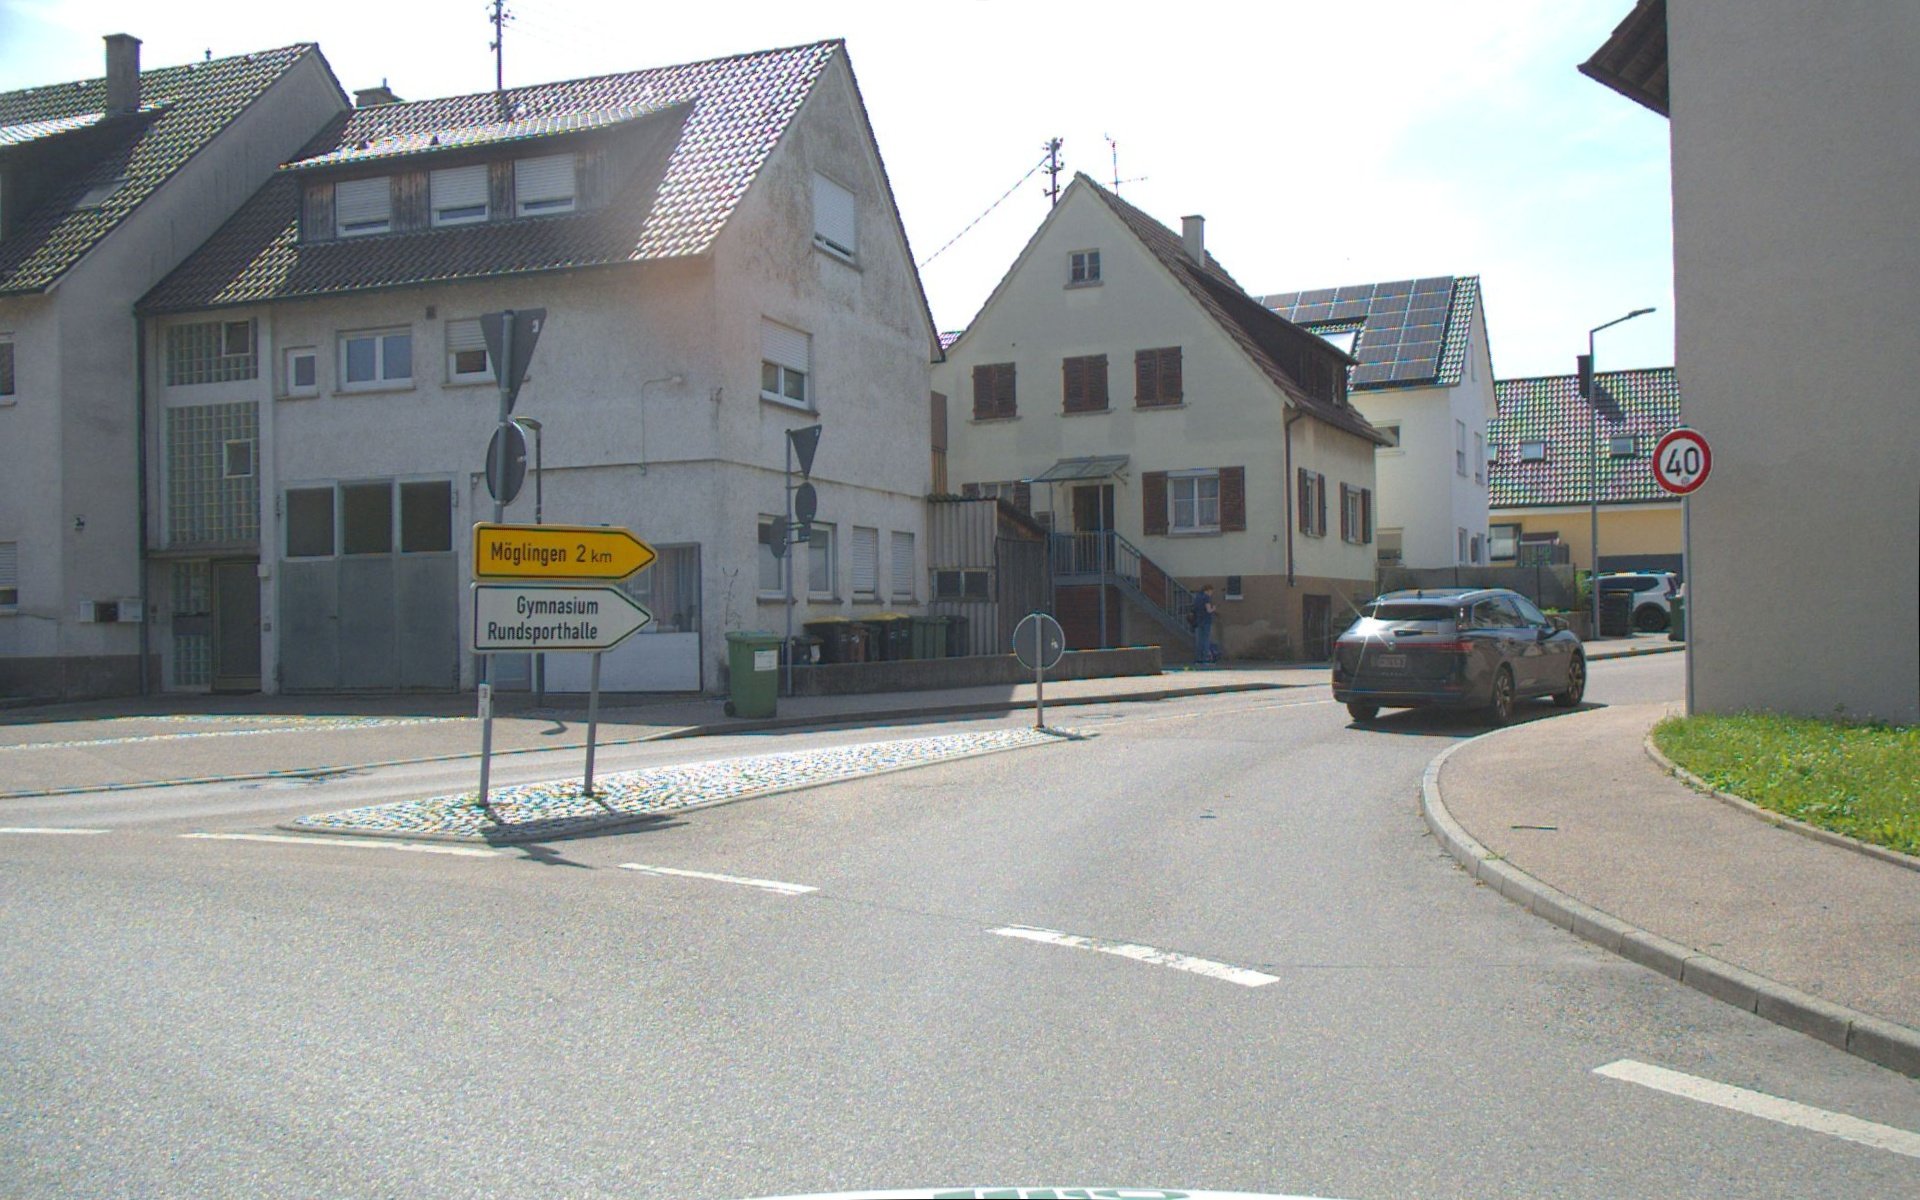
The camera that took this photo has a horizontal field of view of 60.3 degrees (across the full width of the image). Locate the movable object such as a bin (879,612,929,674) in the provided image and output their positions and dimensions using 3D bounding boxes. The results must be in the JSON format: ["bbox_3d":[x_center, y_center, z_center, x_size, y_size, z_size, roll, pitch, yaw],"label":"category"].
[{"bbox_3d":[-1.018,0.780,30.032,0.723,1.101,0.661,-1,0,17],"label":"movable object such as a bin"}]

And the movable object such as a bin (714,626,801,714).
[{"bbox_3d":[-2.581,0.875,21.060,0.818,1.063,0.801,-1,0,-36],"label":"movable object such as a bin"}]

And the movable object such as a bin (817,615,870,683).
[{"bbox_3d":[-1.939,0.807,27.607,0.668,1.105,0.699,-1,0,17],"label":"movable object such as a bin"}]

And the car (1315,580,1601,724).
[{"bbox_3d":[6.020,0.525,19.603,1.810,1.445,4.664,-1,1,36],"label":"car"}]

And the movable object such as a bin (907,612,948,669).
[{"bbox_3d":[-0.612,0.758,31.319,0.614,1.053,0.604,-1,0,17],"label":"movable object such as a bin"}]

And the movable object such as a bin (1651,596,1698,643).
[{"bbox_3d":[17.248,0.469,39.923,0.814,1.096,0.812,-1,1,44],"label":"movable object such as a bin"}]

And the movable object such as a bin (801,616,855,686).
[{"bbox_3d":[-2.146,0.826,26.936,0.668,1.105,0.645,-1,0,17],"label":"movable object such as a bin"}]

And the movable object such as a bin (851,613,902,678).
[{"bbox_3d":[-1.459,0.788,28.973,0.668,1.101,0.699,-1,0,17],"label":"movable object such as a bin"}]

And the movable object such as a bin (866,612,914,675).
[{"bbox_3d":[-1.256,0.773,29.582,0.668,1.101,0.626,-1,0,17],"label":"movable object such as a bin"}]

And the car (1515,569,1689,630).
[{"bbox_3d":[18.293,0.005,47.178,4.321,1.651,1.995,-1,0,32],"label":"car"}]

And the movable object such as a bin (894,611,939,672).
[{"bbox_3d":[-0.803,0.771,30.654,0.664,1.101,0.584,-1,0,17],"label":"movable object such as a bin"}]

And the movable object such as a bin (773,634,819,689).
[{"bbox_3d":[-2.564,0.959,25.842,0.475,0.819,0.647,-1,0,19],"label":"movable object such as a bin"}]

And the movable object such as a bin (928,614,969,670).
[{"bbox_3d":[-0.215,0.808,31.883,0.615,1.052,0.613,-1,0,17],"label":"movable object such as a bin"}]

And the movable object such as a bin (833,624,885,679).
[{"bbox_3d":[-1.732,0.876,28.302,0.668,0.912,0.699,-1,0,17],"label":"movable object such as a bin"}]

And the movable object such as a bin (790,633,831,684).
[{"bbox_3d":[-2.388,0.929,26.400,0.475,0.794,0.527,-1,0,17],"label":"movable object such as a bin"}]

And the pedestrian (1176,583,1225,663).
[{"bbox_3d":[4.866,0.461,33.460,0.763,1.601,0.625,-1,0,35],"label":"pedestrian"}]
